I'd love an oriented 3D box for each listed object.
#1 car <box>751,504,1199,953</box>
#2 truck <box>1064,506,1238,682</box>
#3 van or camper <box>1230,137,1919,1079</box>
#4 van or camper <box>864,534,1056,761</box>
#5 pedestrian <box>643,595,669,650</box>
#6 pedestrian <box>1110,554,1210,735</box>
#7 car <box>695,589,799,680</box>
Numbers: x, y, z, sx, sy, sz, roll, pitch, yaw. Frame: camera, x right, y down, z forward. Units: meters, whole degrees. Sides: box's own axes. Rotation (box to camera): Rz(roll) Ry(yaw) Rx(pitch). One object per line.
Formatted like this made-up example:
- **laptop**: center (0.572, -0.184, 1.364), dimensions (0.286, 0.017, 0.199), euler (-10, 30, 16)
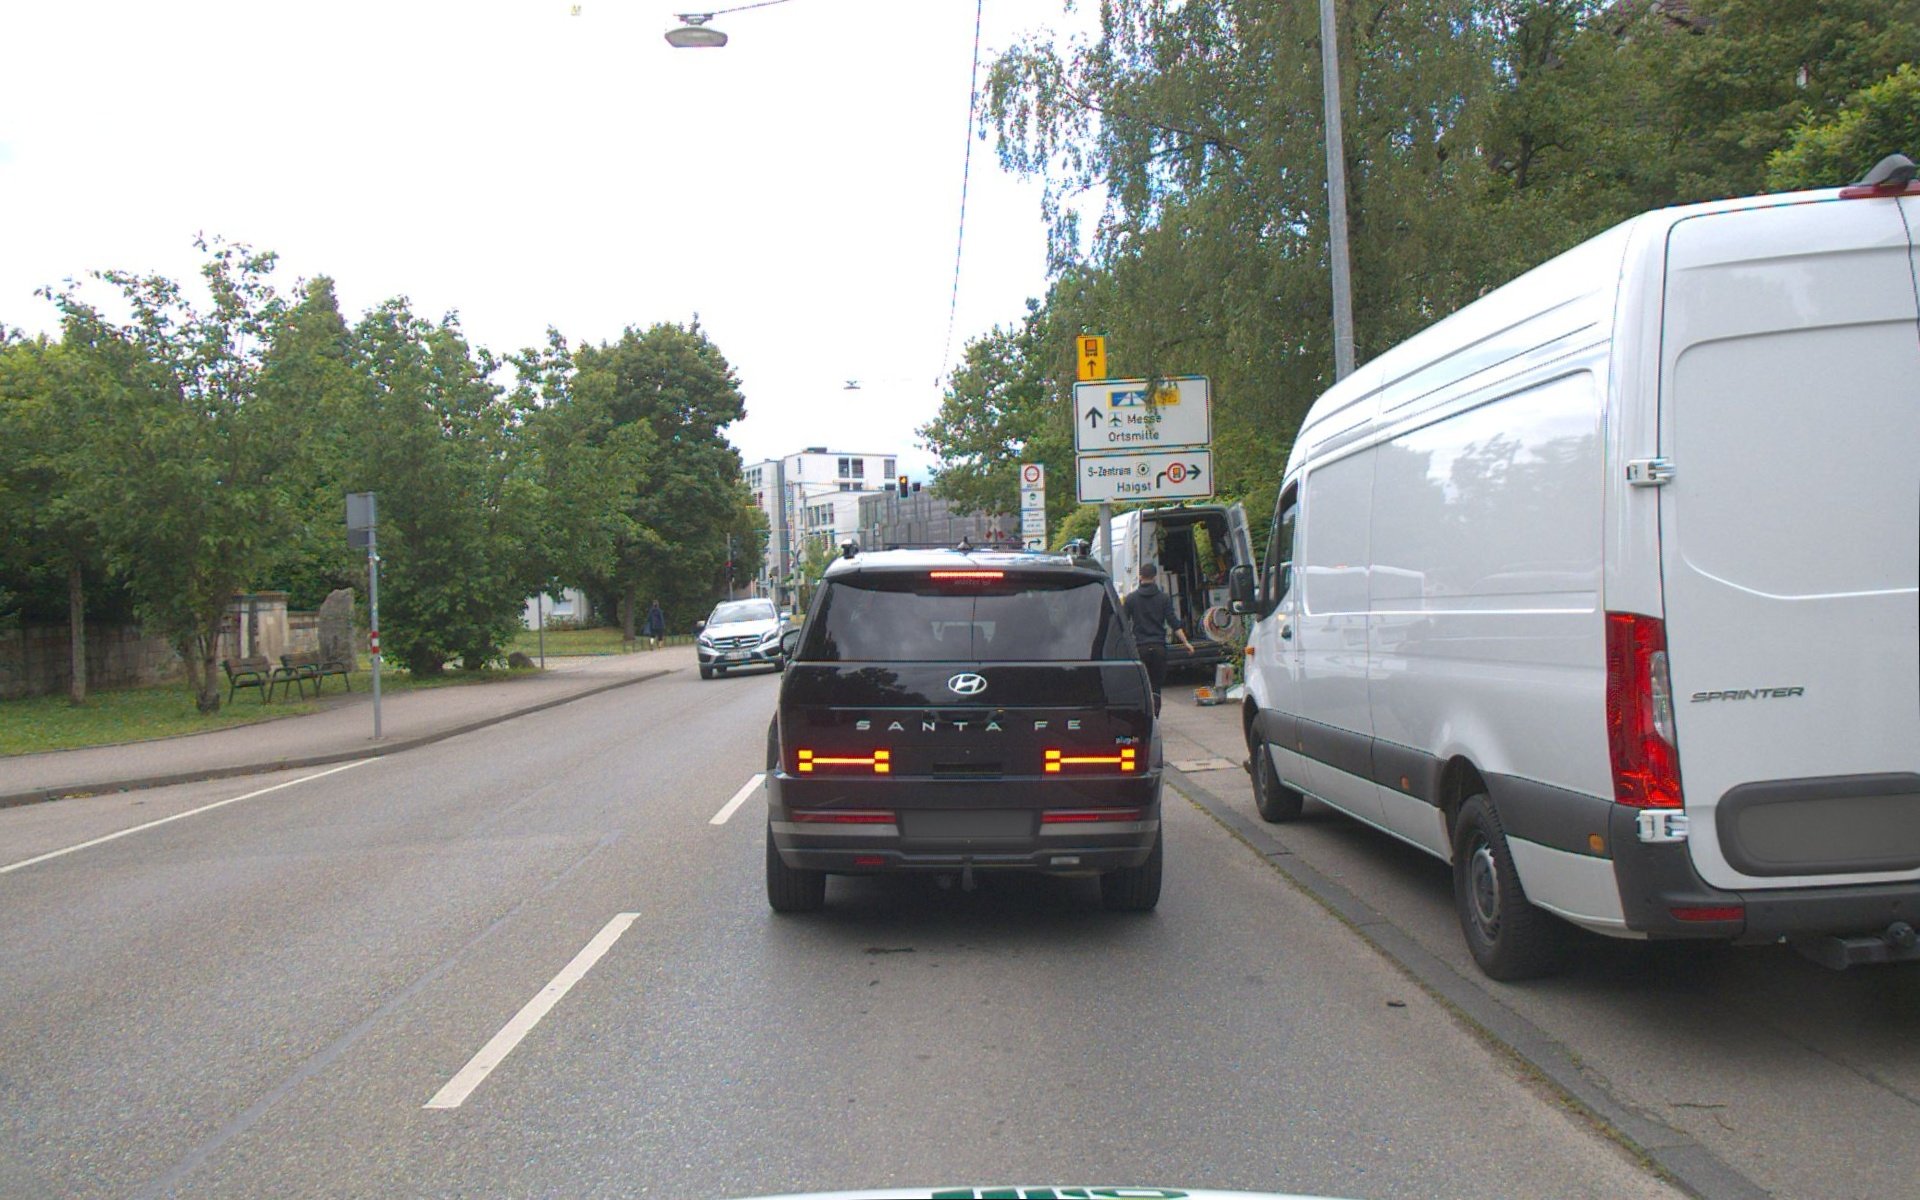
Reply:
- **car**: center (0.038, 0.523, 8.853), dimensions (1.851, 1.851, 3.999), euler (0, 0, -1)
- **truck**: center (3.114, -0.083, 28.134), dimensions (1.904, 2.606, 5.212), euler (-3, 0, -4)
- **van or camper**: center (2.896, -0.010, 8.005), dimensions (1.953, 2.665, 6.540), euler (-2, 0, -1)
- **van or camper**: center (-0.024, 0.432, 17.310), dimensions (1.719, 2.049, 3.999), euler (-2, 0, -1)
- **pedestrian**: center (-9.875, 0.737, 53.731), dimensions (0.724, 1.745, 0.791), euler (-2, 0, -8)
- **pedestrian**: center (2.096, 0.450, 17.254), dimensions (0.742, 1.828, 0.872), euler (-2, 0, 26)
- **car**: center (-4.473, 0.683, 35.240), dimensions (1.749, 1.682, 4.118), euler (-4, 0, -2)
